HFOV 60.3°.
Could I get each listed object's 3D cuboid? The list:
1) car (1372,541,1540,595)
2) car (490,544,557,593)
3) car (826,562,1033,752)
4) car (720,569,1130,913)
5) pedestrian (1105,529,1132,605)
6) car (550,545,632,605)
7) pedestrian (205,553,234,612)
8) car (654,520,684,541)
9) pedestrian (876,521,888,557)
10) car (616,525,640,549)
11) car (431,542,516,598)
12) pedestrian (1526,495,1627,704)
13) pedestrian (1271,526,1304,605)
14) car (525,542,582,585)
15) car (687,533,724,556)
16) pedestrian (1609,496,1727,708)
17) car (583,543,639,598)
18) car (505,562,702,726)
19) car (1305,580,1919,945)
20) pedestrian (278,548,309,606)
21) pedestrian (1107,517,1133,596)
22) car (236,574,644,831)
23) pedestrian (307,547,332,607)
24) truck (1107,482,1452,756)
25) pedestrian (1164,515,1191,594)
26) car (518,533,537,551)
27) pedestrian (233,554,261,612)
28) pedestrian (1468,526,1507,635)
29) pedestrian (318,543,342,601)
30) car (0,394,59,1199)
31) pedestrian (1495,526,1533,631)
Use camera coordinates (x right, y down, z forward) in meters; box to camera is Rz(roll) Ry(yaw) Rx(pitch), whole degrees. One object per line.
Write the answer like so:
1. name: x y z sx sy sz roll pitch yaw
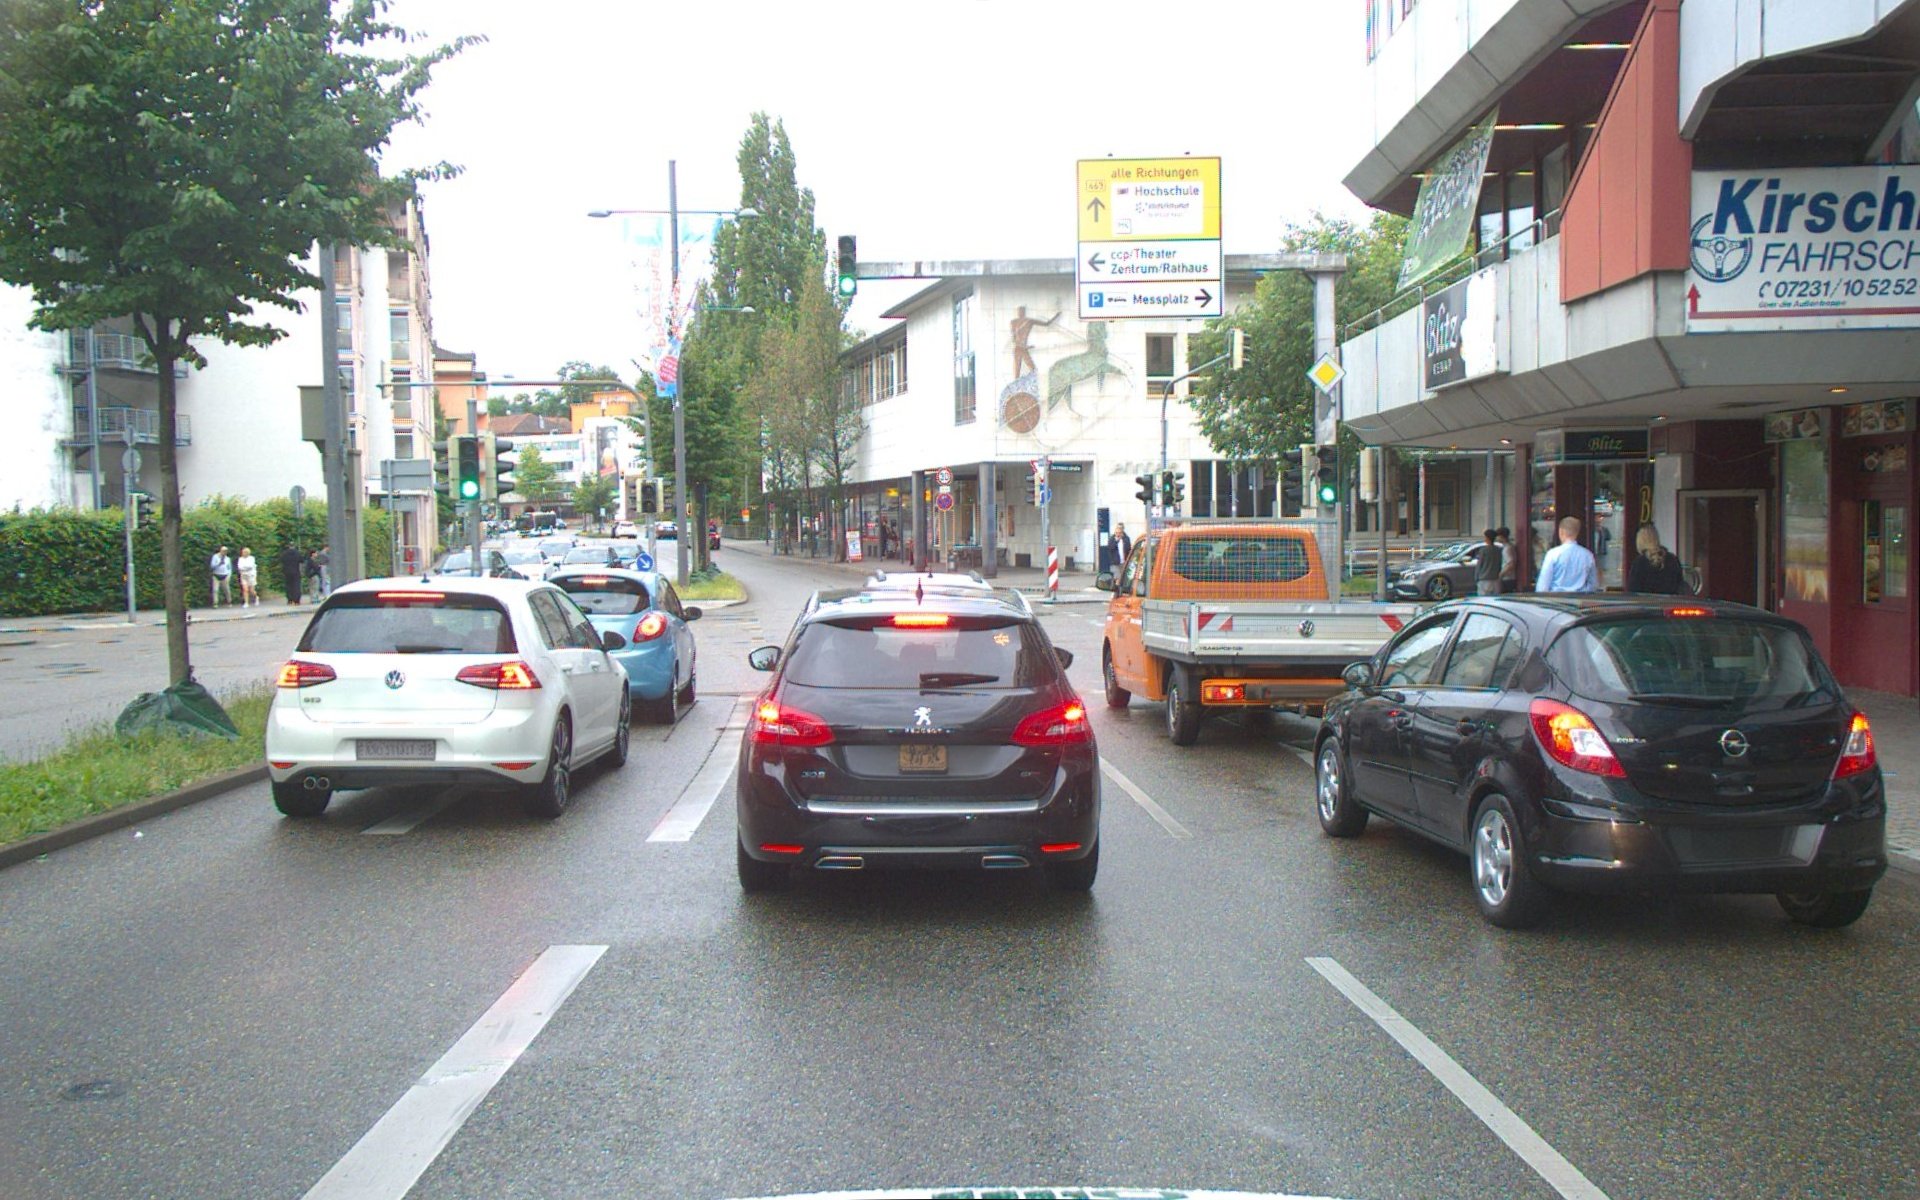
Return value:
1. car: 12.097 -0.776 40.492 3.610 1.233 1.836 1 -1 3
2. car: -14.169 -1.043 53.852 1.602 1.512 3.605 1 2 -7
3. car: -0.277 0.419 15.289 1.662 1.512 3.793 1 2 -1
4. car: -0.141 0.572 9.003 1.741 1.454 3.842 1 1 0
5. pedestrian: 3.804 -0.776 39.669 0.623 1.788 0.734 1 -1 6
6. car: -10.601 -0.684 47.775 1.710 1.607 3.996 1 -1 -4
7. pedestrian: -20.706 -0.491 46.254 0.569 1.627 0.526 1 -1 -7
8. car: -24.728 -5.852 140.451 1.700 1.516 4.703 1 -1 -21
9. pedestrian: -3.914 -3.059 82.751 0.461 1.778 0.537 1 -1 -21
10. car: -29.235 -5.539 145.635 1.679 1.915 3.980 1 -1 -18
11. car: -13.736 -0.857 46.851 1.543 1.512 3.607 1 2 -4
12. pedestrian: 5.941 0.001 15.966 0.721 1.968 0.640 1 -1 -1
13. pedestrian: 7.140 -0.740 36.104 0.623 1.688 0.734 1 -1 6
14. car: -14.944 -1.340 60.907 1.602 1.512 3.605 1 2 -7
15. car: -17.176 -3.751 111.411 1.759 1.479 4.486 -3 3 -17
16. pedestrian: 6.853 0.019 16.032 0.721 1.968 0.640 -4 -1 -1
17. car: -11.457 -0.948 54.499 1.713 1.669 3.989 1 -1 -11
18. car: -3.638 0.378 17.400 1.601 1.512 3.606 1 2 -6
19. car: 3.122 0.646 8.689 1.584 1.454 3.839 1 1 -4
20. pedestrian: -19.682 -0.678 48.859 0.624 1.671 0.733 1 -1 -3
21. pedestrian: 3.986 -1.063 41.102 0.623 1.930 0.734 1 -1 6
22. car: -3.338 0.561 11.389 1.742 1.454 3.840 1 1 -3
23. pedestrian: -19.260 -0.671 49.759 0.529 1.778 0.746 1 -1 -9
24. truck: 2.829 0.091 16.000 2.133 2.210 5.018 1 2 -3
25. pedestrian: 5.446 -1.124 41.372 0.623 1.930 0.734 1 -1 6
26. car: -56.172 -7.519 214.618 1.964 2.049 3.976 1 -1 -20
27. pedestrian: -20.185 -0.474 46.853 0.569 1.627 0.526 1 -1 -7
28. pedestrian: 8.403 -0.300 26.377 0.417 1.712 0.450 -1 -1 -2
29. pedestrian: -19.583 -0.870 51.449 0.528 1.778 0.564 1 -1 -6
30. car: -3.031 0.446 1.386 1.873 1.903 5.071 1 -1 -2
31. pedestrian: 8.946 -0.348 26.719 0.388 1.668 0.504 -1 -1 0
